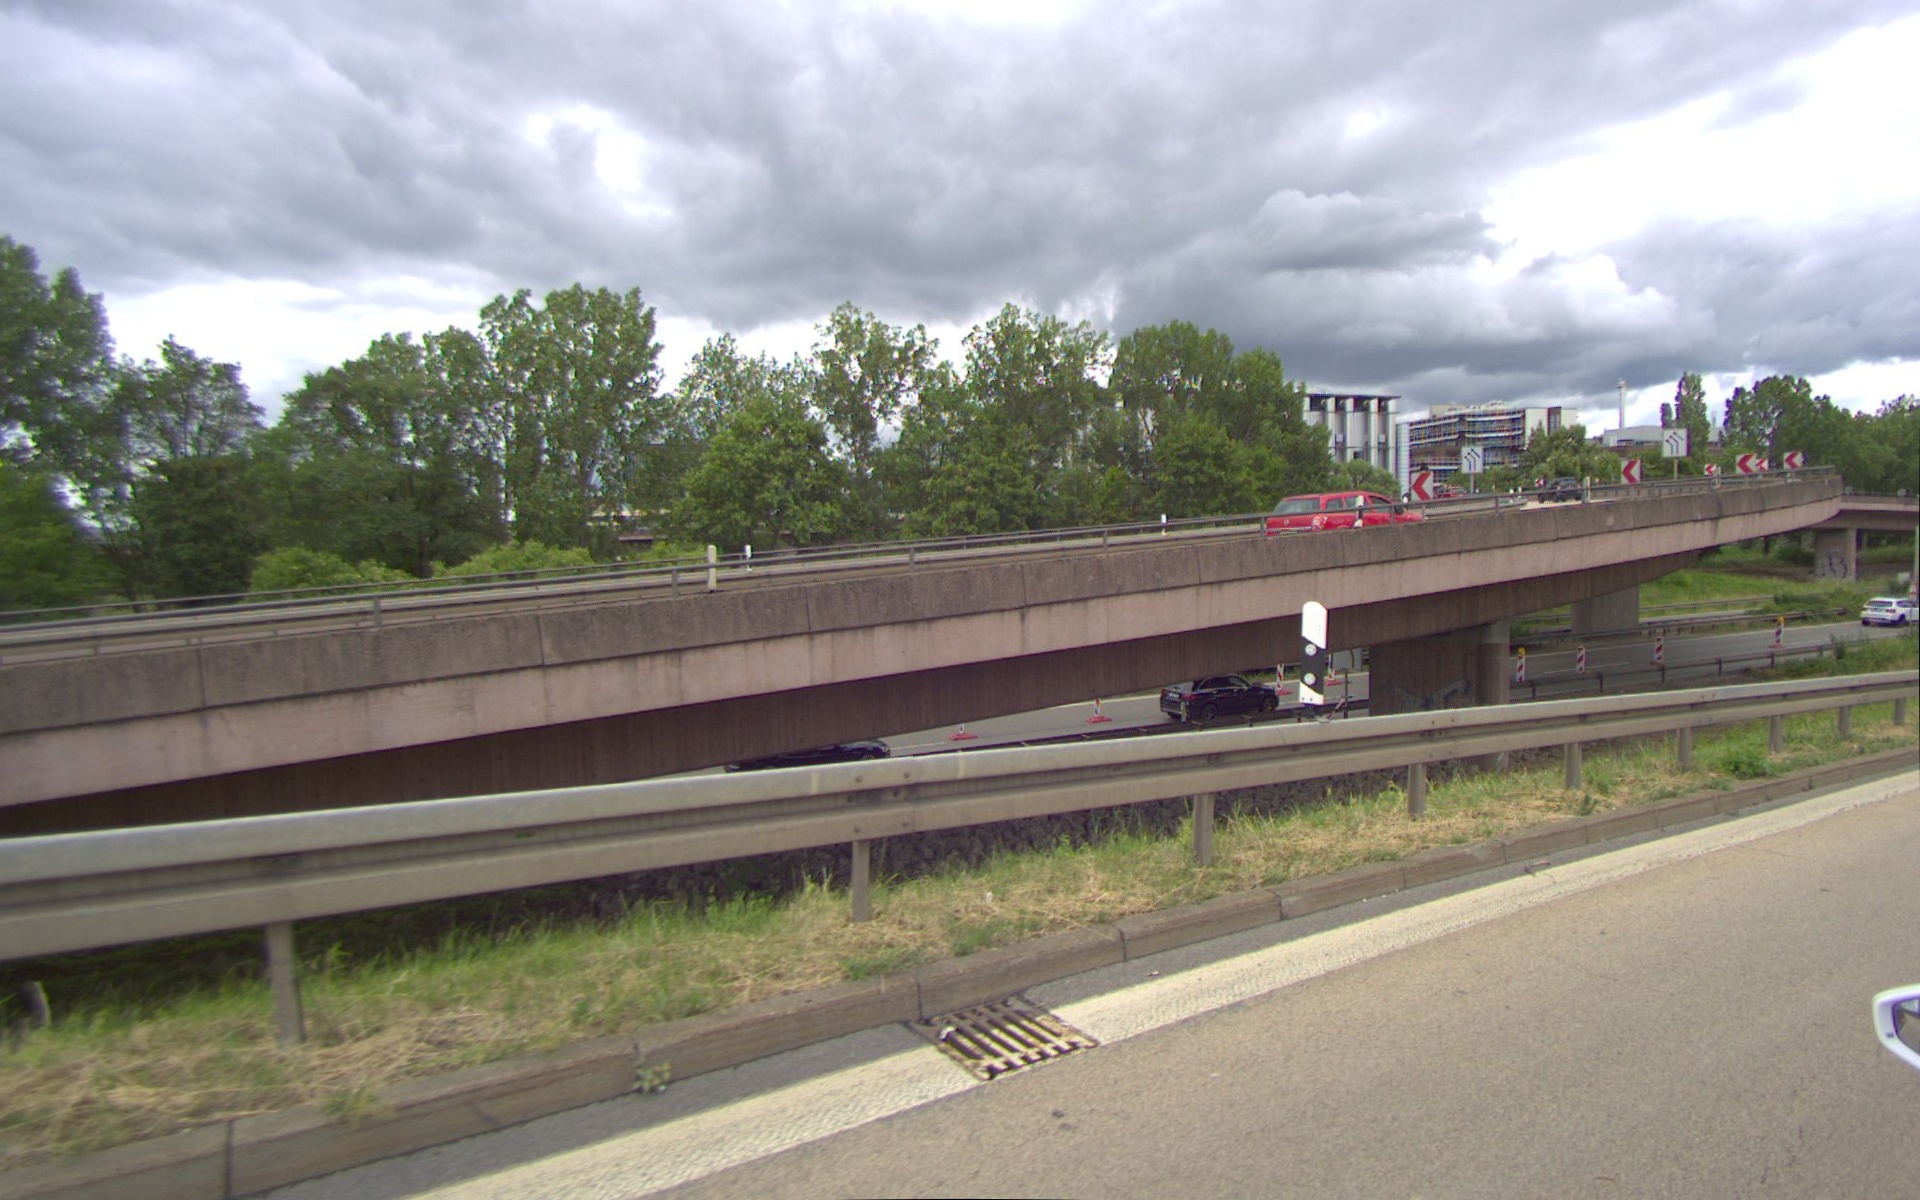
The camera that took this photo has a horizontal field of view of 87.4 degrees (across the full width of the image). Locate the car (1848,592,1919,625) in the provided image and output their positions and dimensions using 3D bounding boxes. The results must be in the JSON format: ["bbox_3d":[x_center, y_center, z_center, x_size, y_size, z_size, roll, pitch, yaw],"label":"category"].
[{"bbox_3d":[56.014,0.476,60.712,4.044,1.736,1.988,-2,4,-24],"label":"car"}]

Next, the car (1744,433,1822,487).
[{"bbox_3d":[36.082,-6.104,44.148,1.964,1.795,3.992,2,1,30],"label":"car"}]

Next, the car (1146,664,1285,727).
[{"bbox_3d":[8.987,3.302,35.355,4.514,1.637,2.031,-2,4,-24],"label":"car"}]

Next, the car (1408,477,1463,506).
[{"bbox_3d":[36.268,-8.252,76.783,1.963,1.795,3.995,1,1,-6],"label":"car"}]
